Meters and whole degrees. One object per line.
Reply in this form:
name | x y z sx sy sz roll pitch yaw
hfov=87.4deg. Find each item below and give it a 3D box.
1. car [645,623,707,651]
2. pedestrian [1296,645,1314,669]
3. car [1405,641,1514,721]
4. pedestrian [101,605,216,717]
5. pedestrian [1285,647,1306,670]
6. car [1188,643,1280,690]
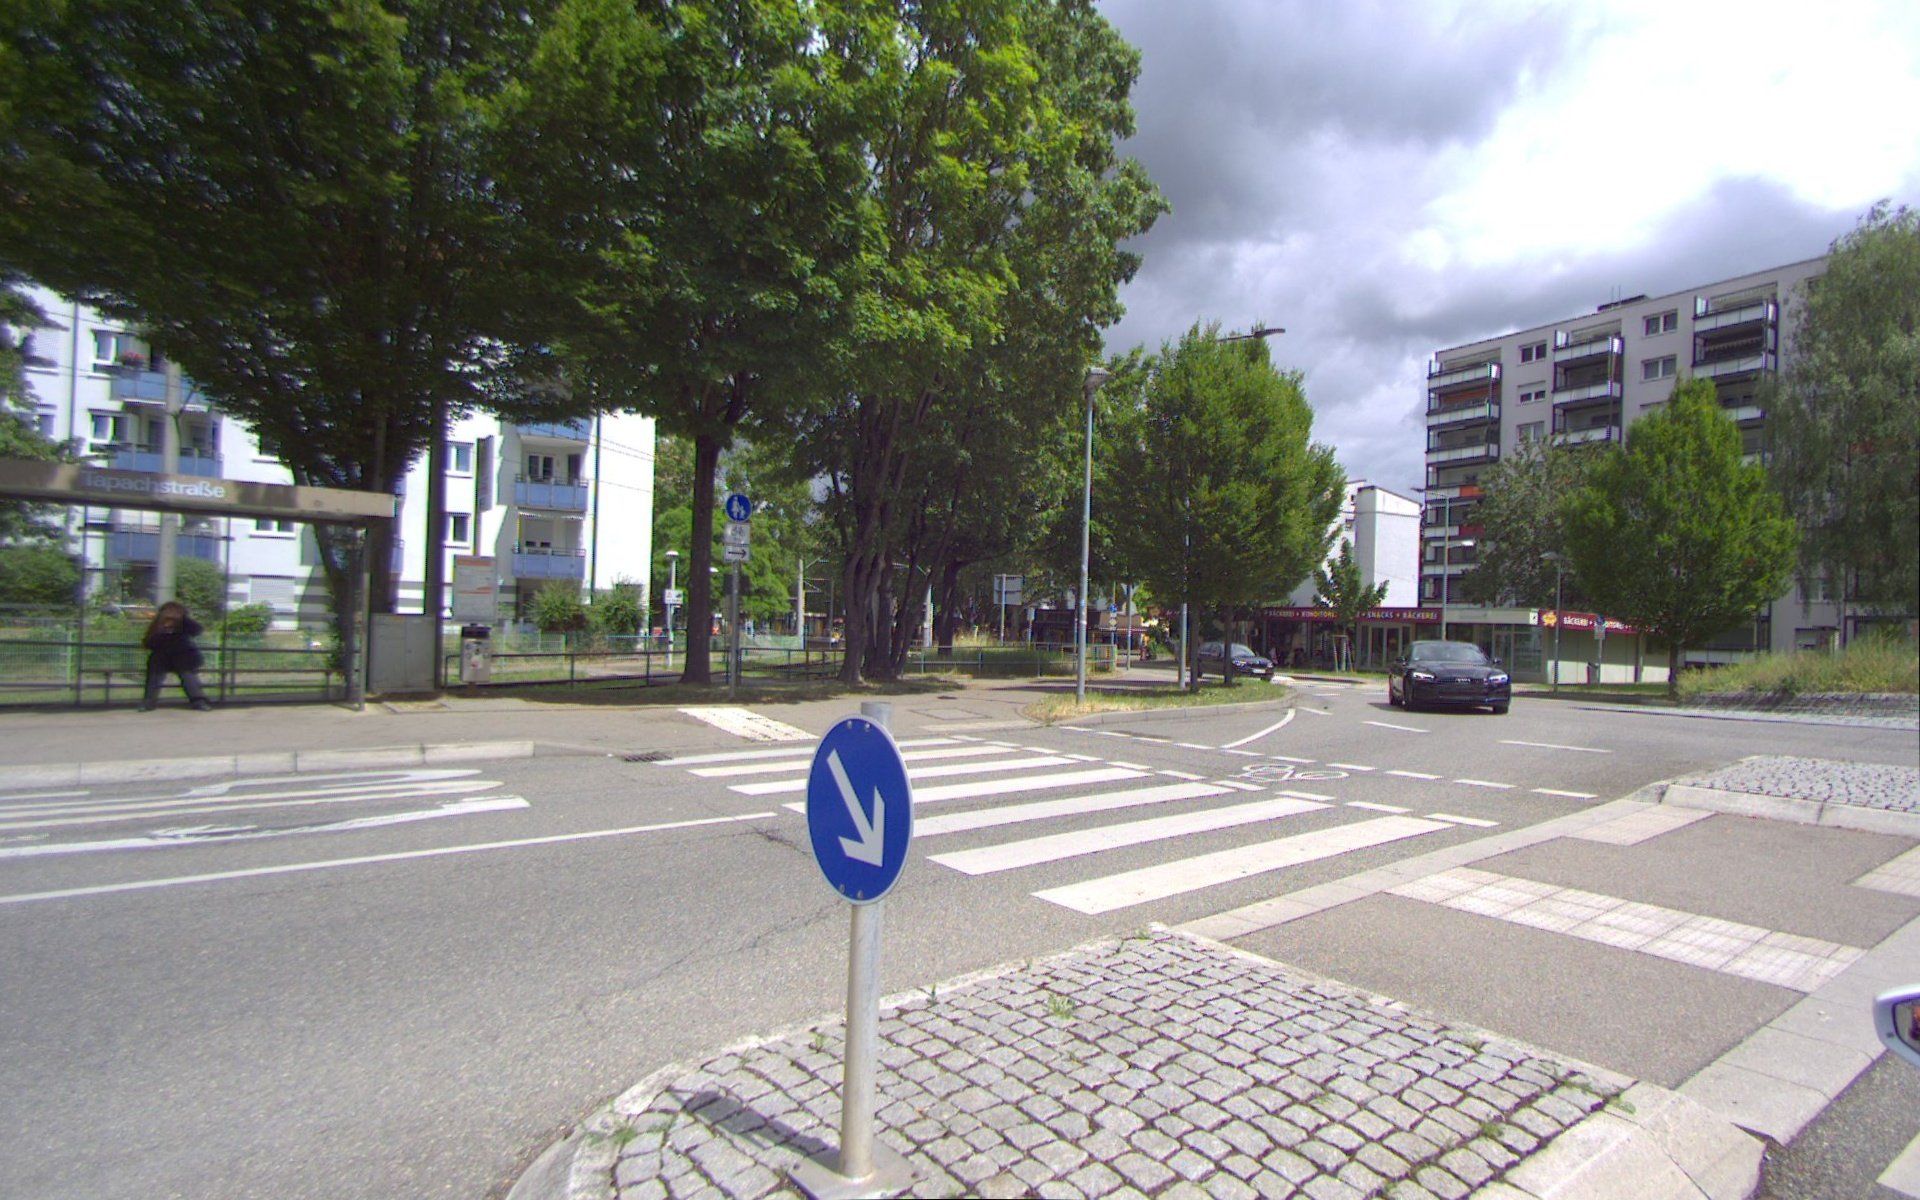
car | -19.893 2.606 70.387 3.944 1.832 1.989 2 -2 -24
pedestrian | 20.602 3.405 60.010 0.710 1.399 0.695 2 -2 -22
car | 10.201 1.568 20.542 1.790 1.402 4.613 0 -2 27
pedestrian | -8.757 0.646 11.012 0.902 1.150 0.793 2 0 -35
pedestrian | 19.888 3.472 59.543 0.870 1.342 0.816 2 1 -29
car | 10.495 2.536 38.871 1.825 1.474 4.382 2 0 -8
